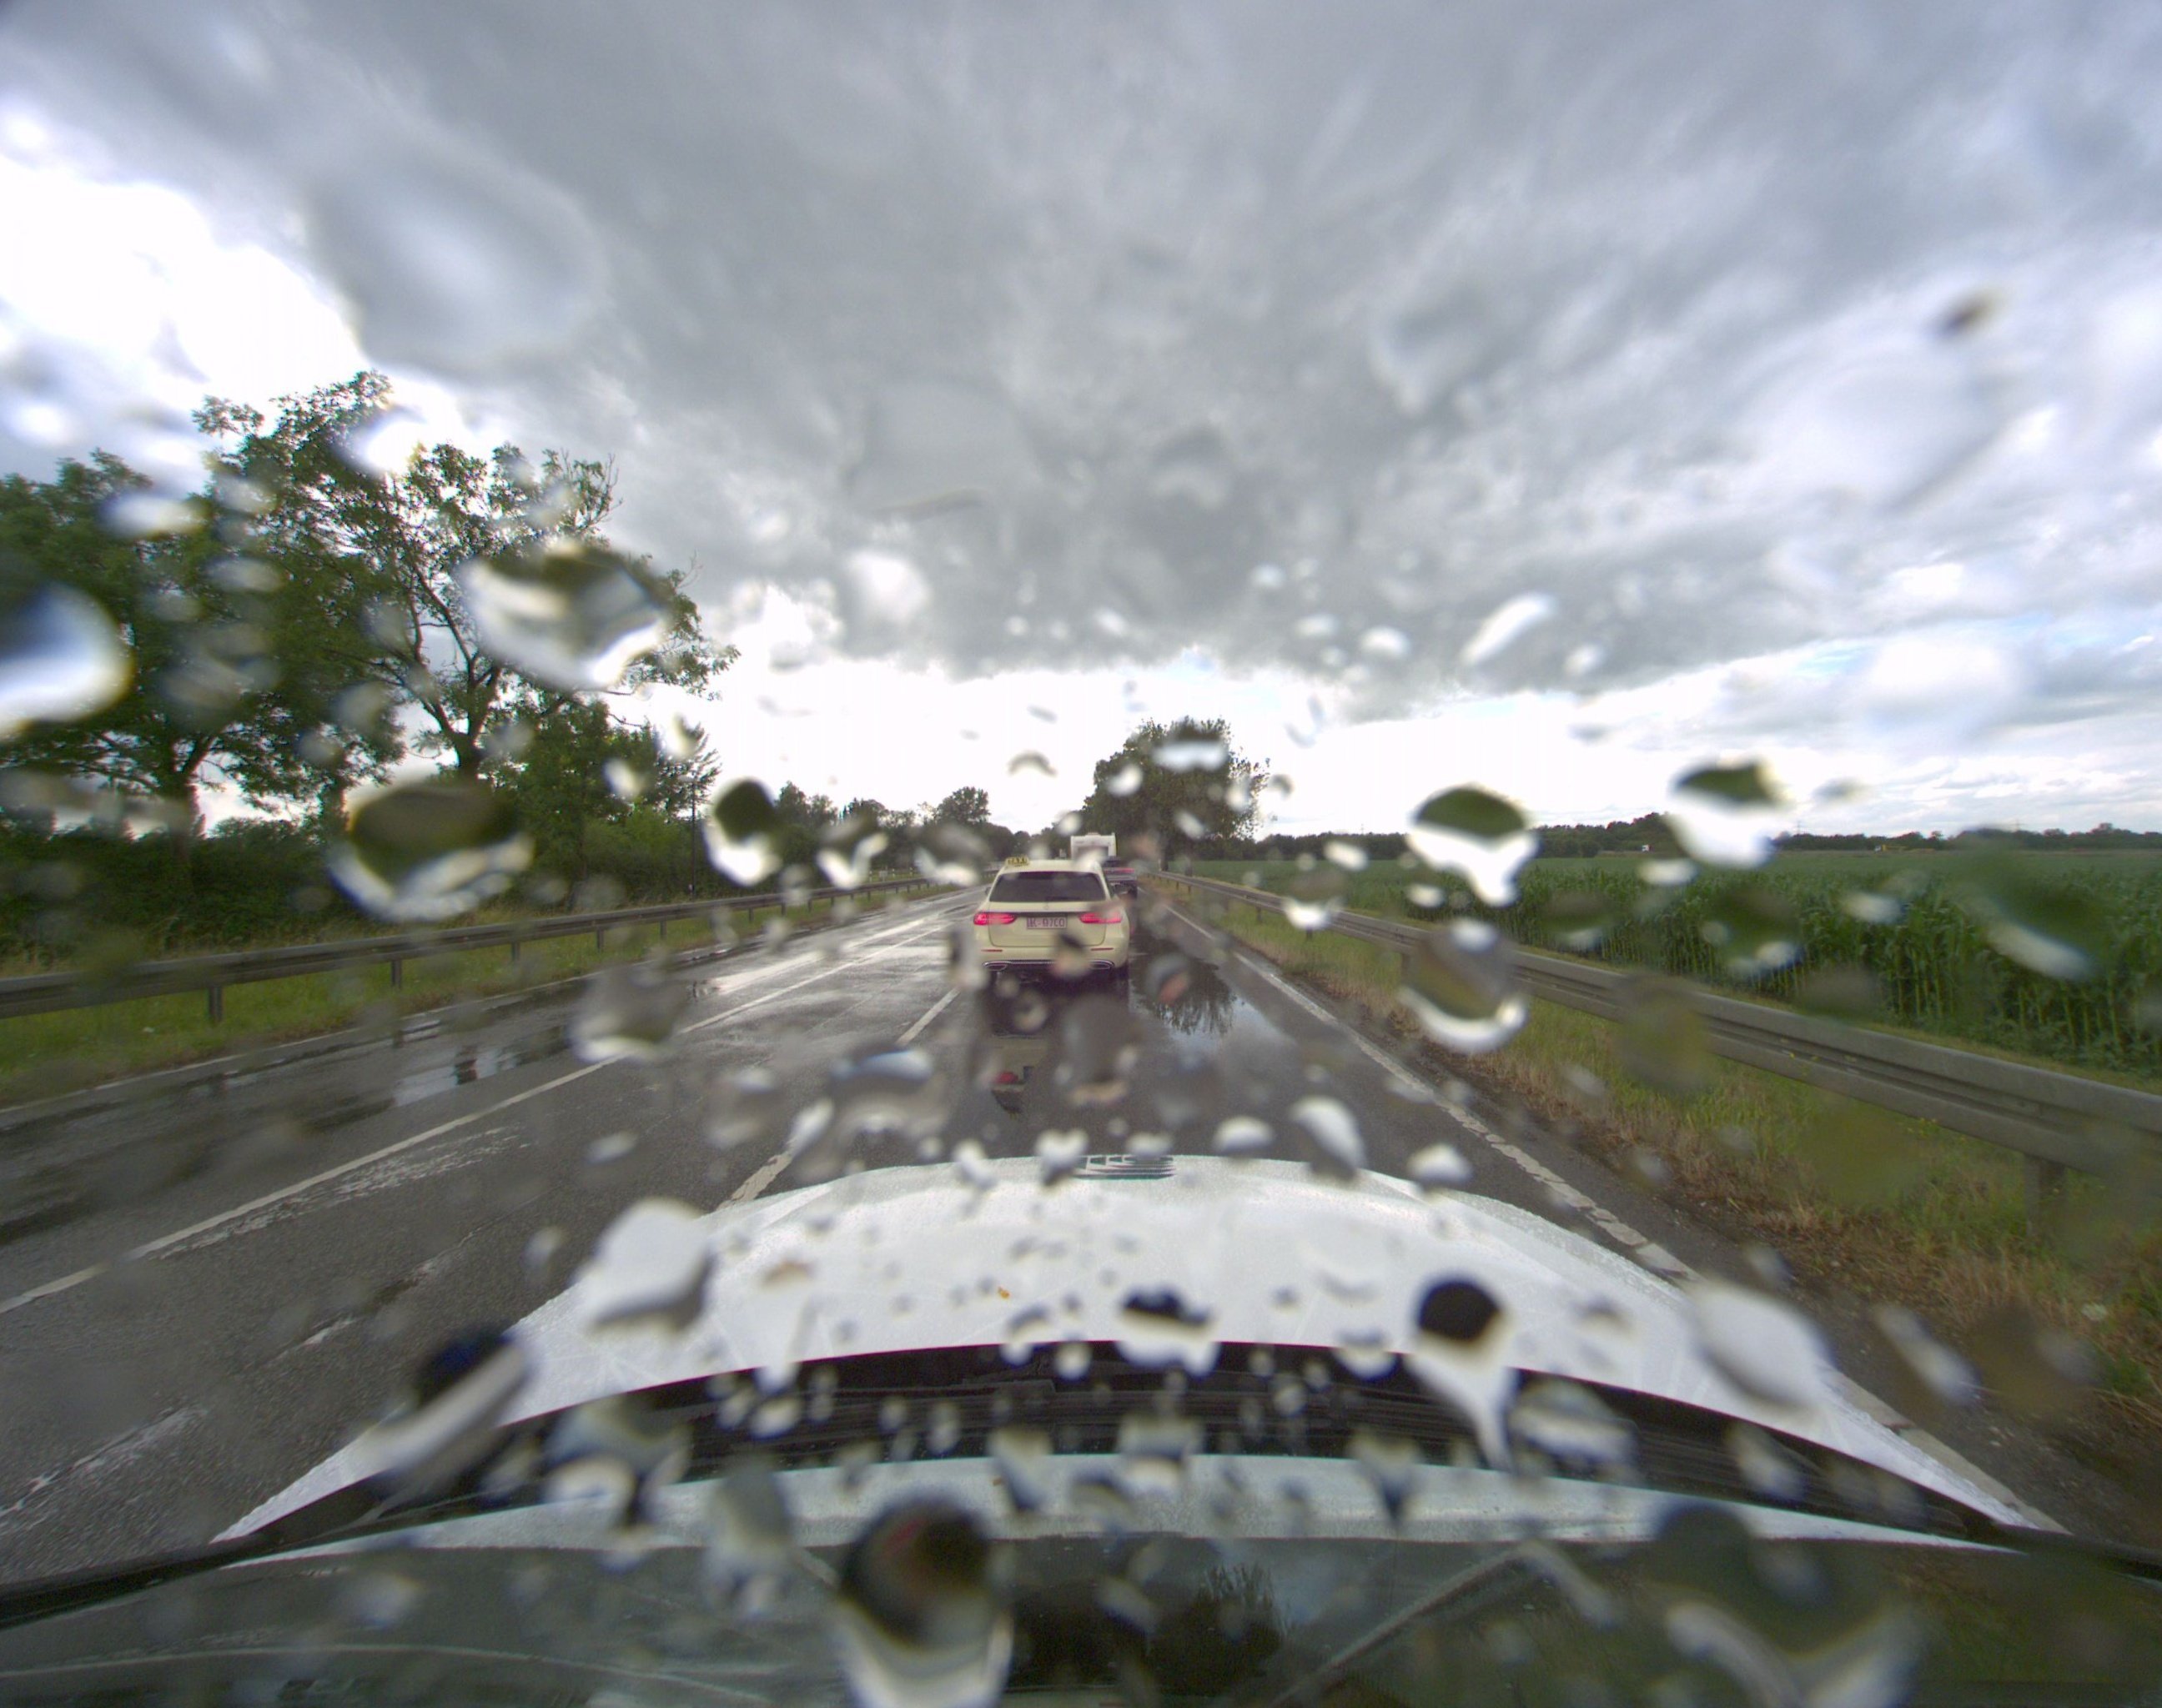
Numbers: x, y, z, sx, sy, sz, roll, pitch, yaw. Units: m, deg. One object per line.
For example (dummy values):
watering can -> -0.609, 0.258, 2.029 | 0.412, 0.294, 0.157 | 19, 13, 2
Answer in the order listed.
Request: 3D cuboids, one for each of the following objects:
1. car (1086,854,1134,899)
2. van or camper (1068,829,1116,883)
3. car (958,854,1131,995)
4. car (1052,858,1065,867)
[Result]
car -> 1.051, 0.774, 29.816 | 1.621, 1.529, 3.934 | -1, 0, 2
van or camper -> 0.650, 0.098, 43.349 | 2.342, 2.680, 5.770 | -1, 0, 2
car -> -0.286, 0.757, 10.726 | 1.817, 1.485, 4.148 | -1, 0, 3
car -> -3.572, 1.350, 129.488 | 1.752, 1.269, 4.001 | -1, 0, 2
